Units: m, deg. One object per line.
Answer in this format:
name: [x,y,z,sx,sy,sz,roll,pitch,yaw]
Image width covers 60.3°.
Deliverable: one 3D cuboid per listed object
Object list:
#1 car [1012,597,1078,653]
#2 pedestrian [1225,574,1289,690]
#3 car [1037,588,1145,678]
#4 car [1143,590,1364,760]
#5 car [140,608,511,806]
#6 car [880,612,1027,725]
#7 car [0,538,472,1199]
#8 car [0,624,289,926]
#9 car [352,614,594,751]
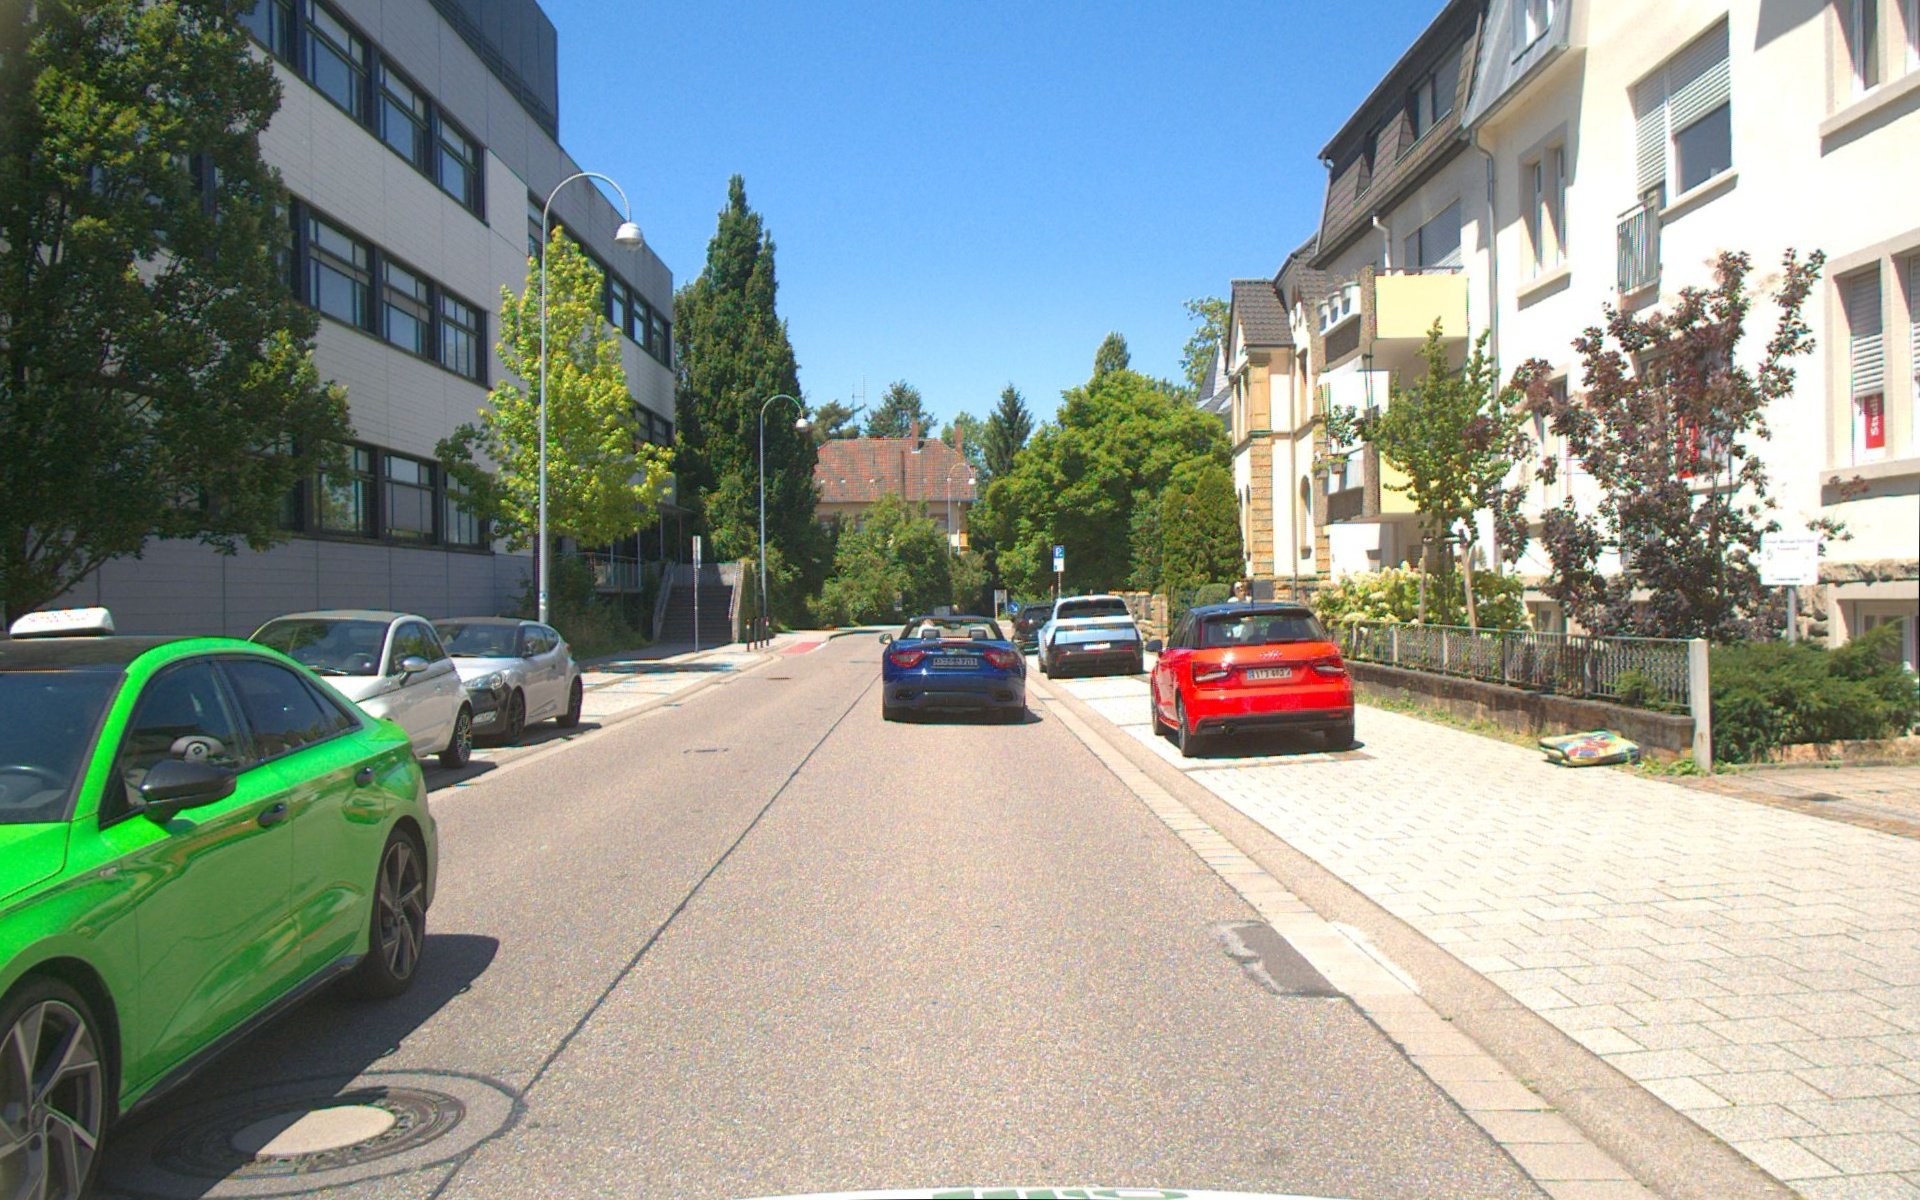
car: [2.460,0.696,48.670,1.599,1.471,4.397,-4,0,-1]
pedestrian: [4.512,0.475,25.176,0.725,1.698,0.705,-3,0,-2]
car: [2.638,0.633,34.233,1.806,1.647,4.427,-3,0,0]
car: [2.926,0.694,17.237,1.571,1.466,3.853,-4,0,1]
car: [-5.615,0.855,15.266,1.785,1.538,4.289,0,0,0]
car: [-0.100,0.858,22.712,1.789,1.360,4.699,1,0,-1]
car: [-2.989,0.724,5.064,1.786,1.616,4.099,-3,0,-2]
car: [-5.656,0.894,9.451,1.785,1.436,4.577,0,0,0]
car: [-5.755,0.915,20.026,1.712,1.434,3.933,1,0,1]
